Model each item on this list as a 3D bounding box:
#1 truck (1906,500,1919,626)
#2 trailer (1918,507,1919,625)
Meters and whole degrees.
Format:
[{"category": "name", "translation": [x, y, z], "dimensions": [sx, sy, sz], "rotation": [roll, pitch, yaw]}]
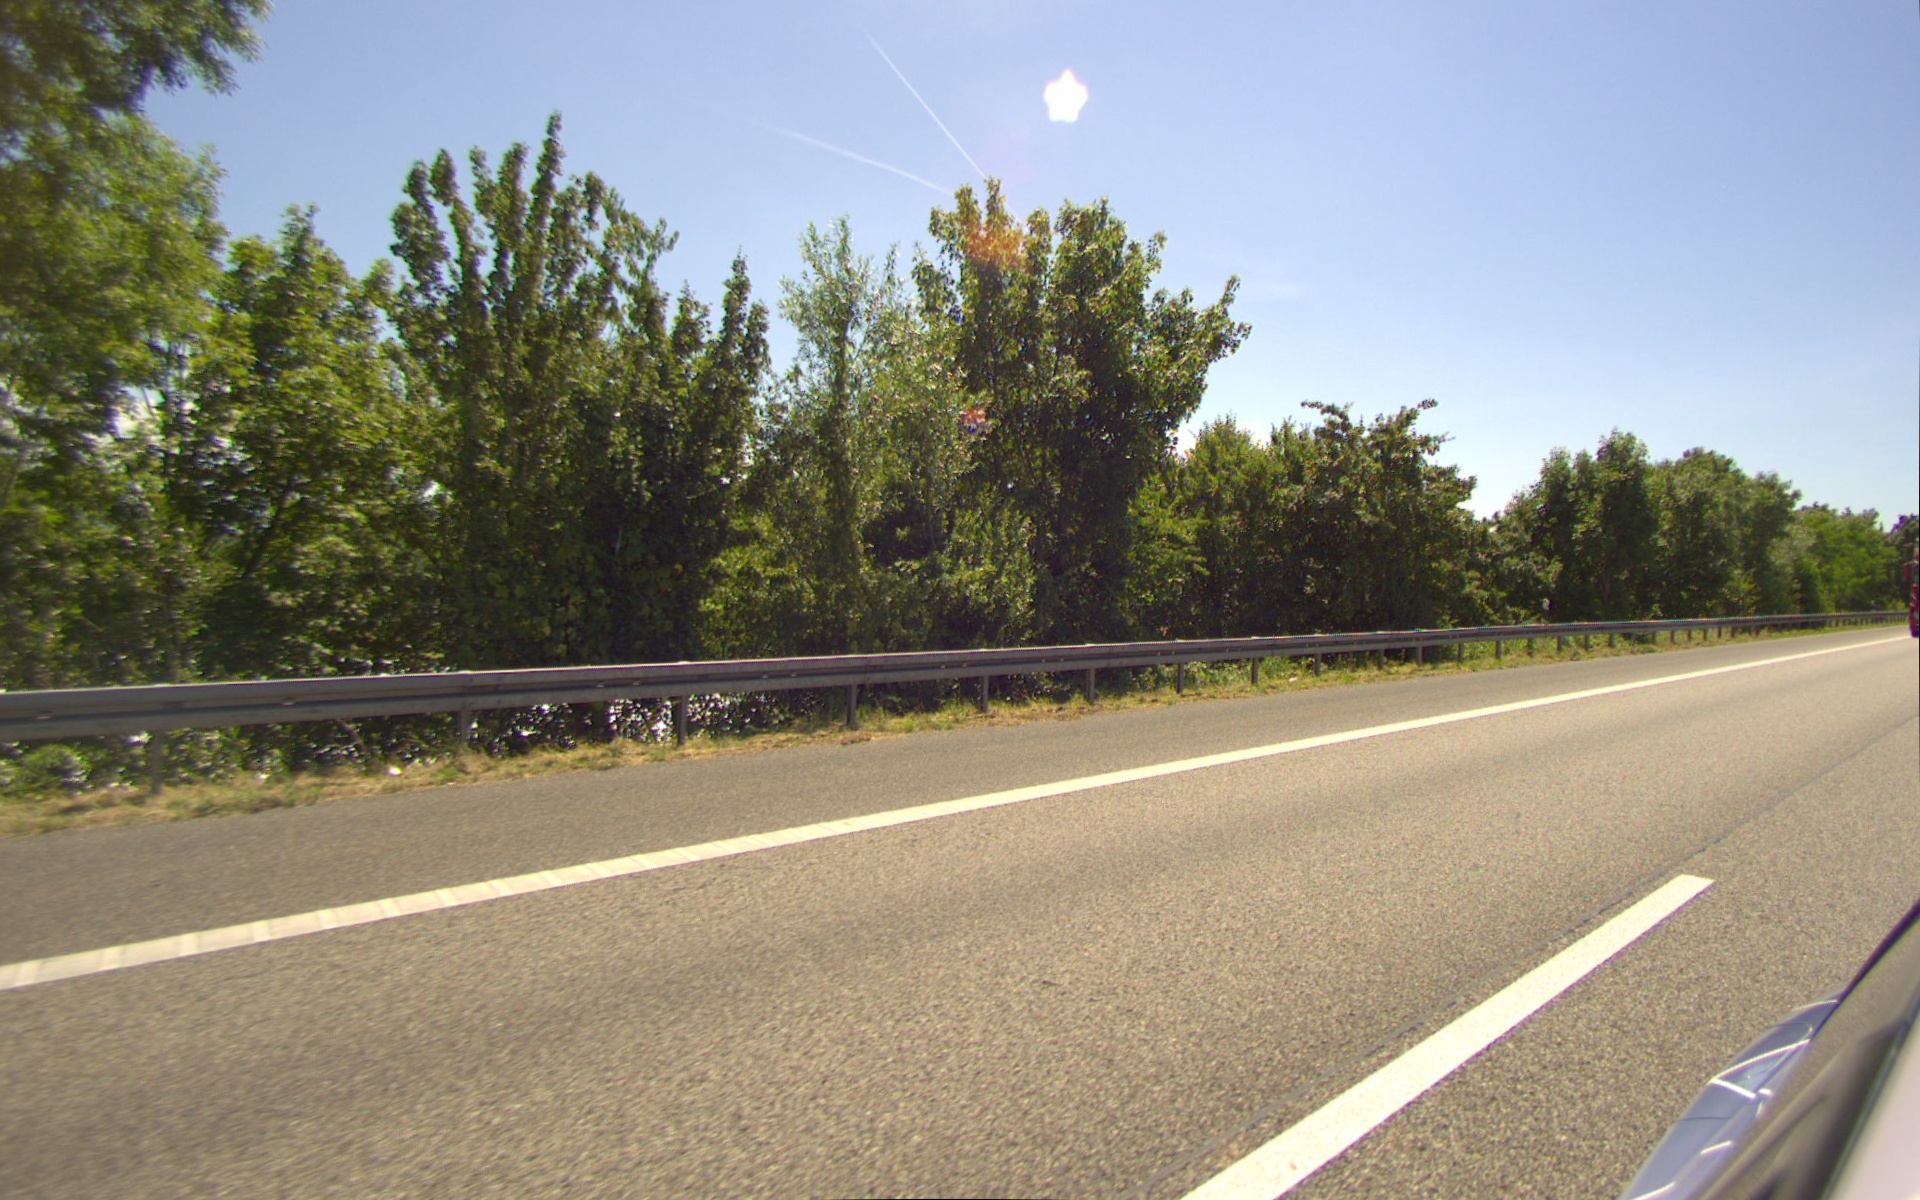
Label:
[{"category": "truck", "translation": [41.103, -1.403, 41.028], "dimensions": [6.847, 4.951, 3.240], "rotation": [1, 0, -40]}, {"category": "trailer", "translation": [46.257, -1.312, 45.416], "dimensions": [13.779, 4.899, 3.276], "rotation": [1, 0, -40]}]
